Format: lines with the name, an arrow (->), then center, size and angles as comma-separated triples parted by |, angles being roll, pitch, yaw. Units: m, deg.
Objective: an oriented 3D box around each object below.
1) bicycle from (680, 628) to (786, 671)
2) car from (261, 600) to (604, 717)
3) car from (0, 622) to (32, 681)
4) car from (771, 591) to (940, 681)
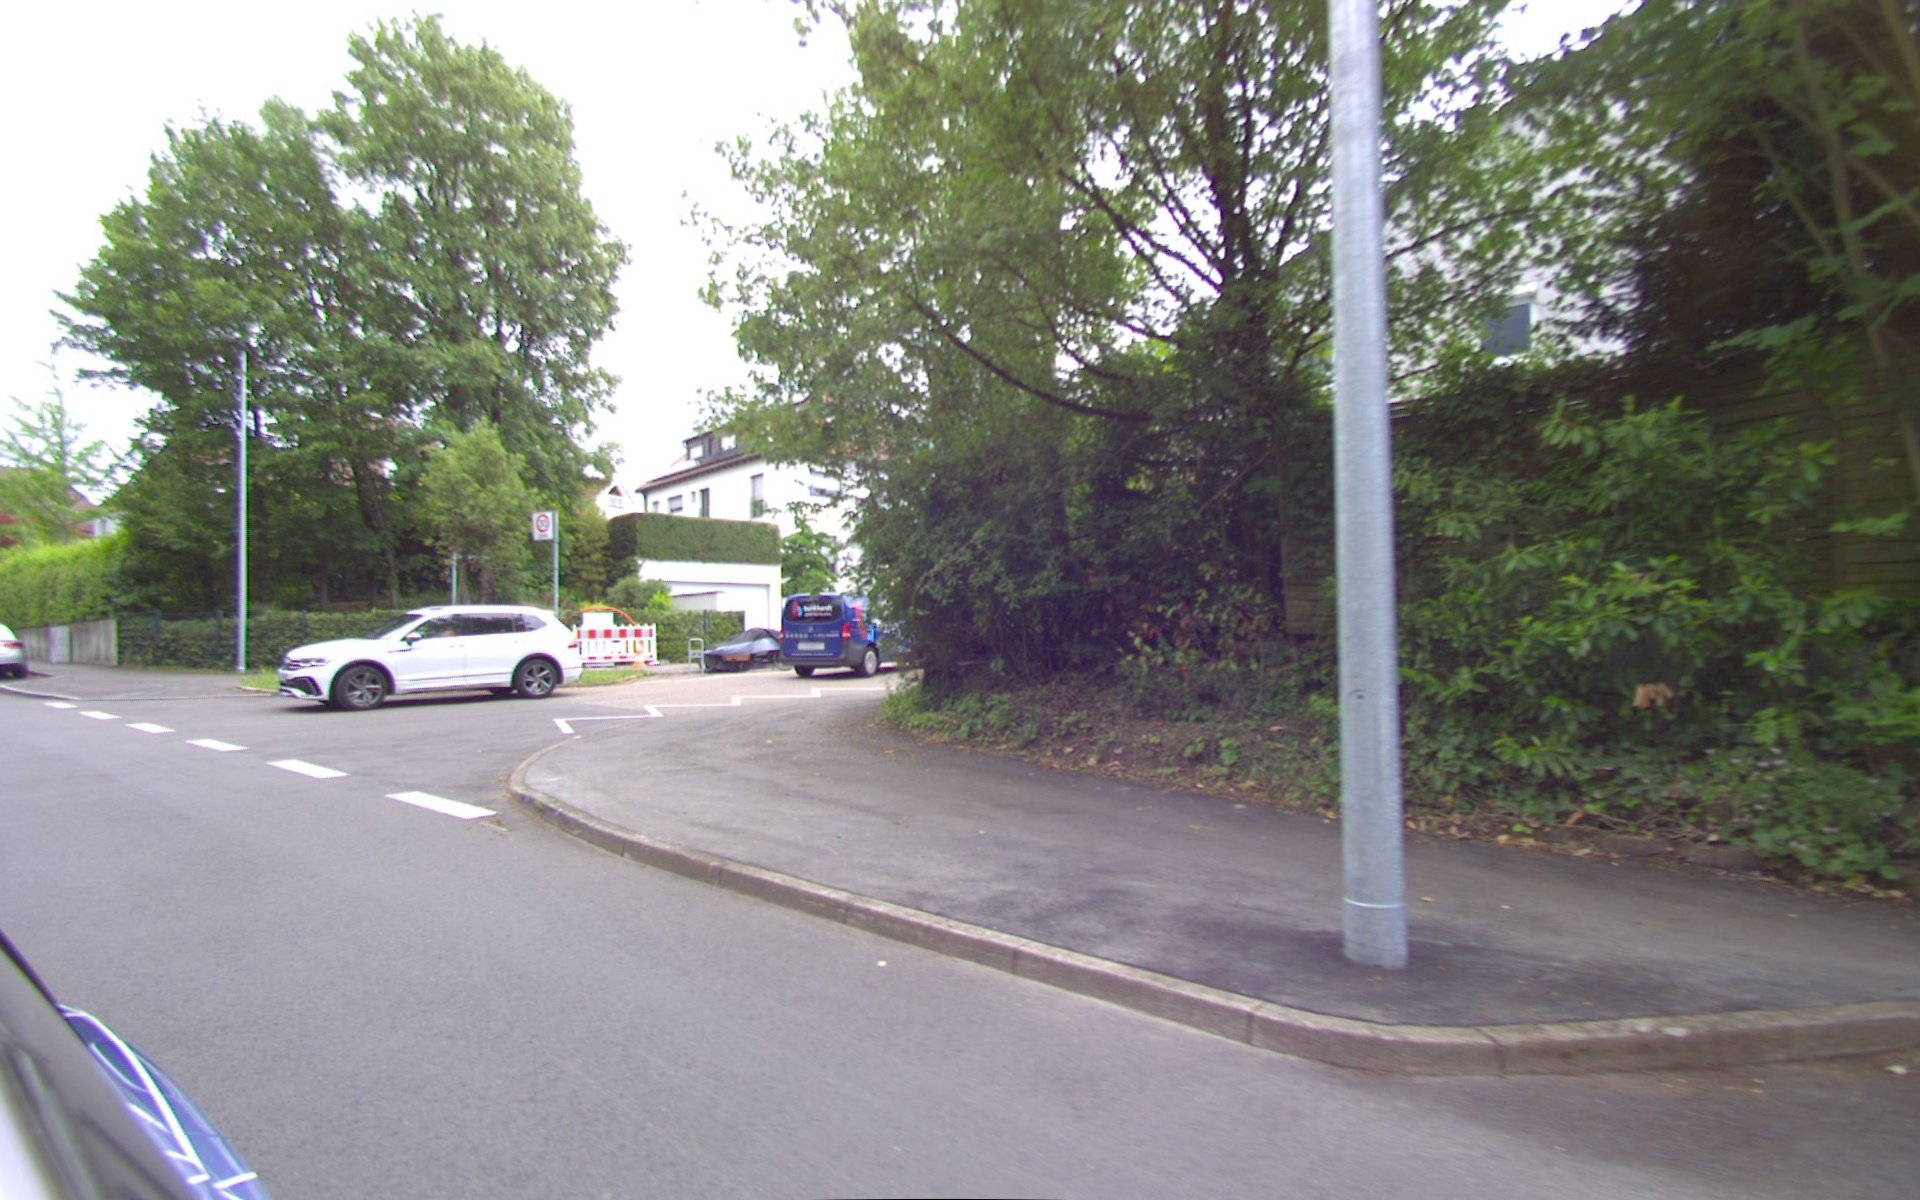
bicycle -> -5.743, 1.244, 25.605 | 2.540, 1.009, 0.655 | -1, -1, -19
car -> -8.961, 0.879, 17.520 | 2.038, 1.682, 4.880 | -1, 0, 44
car -> -24.919, 1.301, 25.361 | 4.440, 1.384, 1.813 | -2, 0, 39
car -> -2.304, 0.778, 23.564 | 1.931, 1.894, 4.493 | -2, -1, 24
